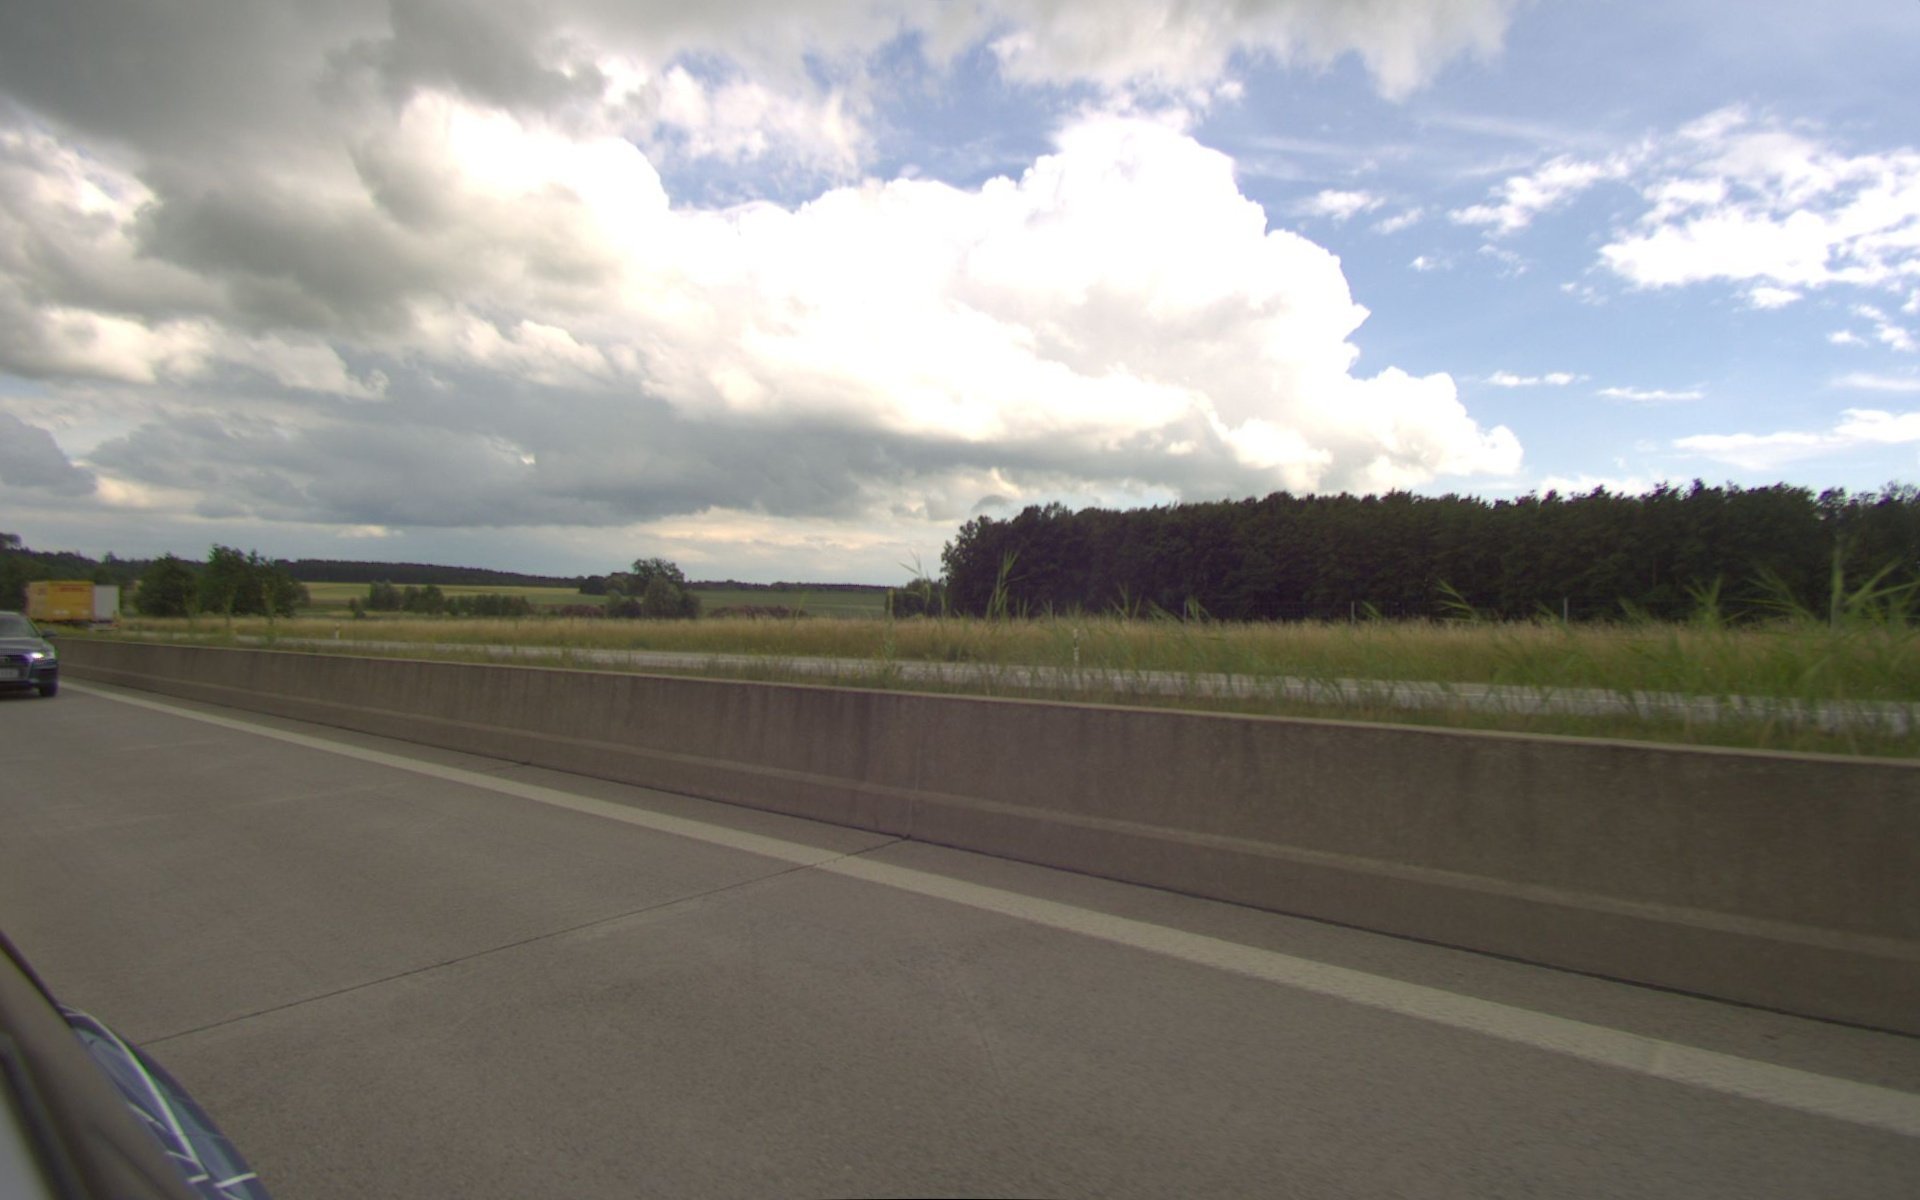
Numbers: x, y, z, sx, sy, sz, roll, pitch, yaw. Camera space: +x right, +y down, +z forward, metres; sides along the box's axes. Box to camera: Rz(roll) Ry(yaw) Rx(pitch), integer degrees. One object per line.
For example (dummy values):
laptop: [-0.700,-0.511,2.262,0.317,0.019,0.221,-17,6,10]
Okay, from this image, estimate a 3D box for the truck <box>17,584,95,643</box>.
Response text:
truck: [-66.754,1.018,74.655,10.559,4.069,2.788,-1,-2,40]

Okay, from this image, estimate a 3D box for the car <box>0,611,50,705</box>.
car: [-18.531,1.031,18.950,5.157,1.608,1.773,-1,-1,43]

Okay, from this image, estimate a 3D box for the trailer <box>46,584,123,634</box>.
trailer: [-74.844,0.844,86.365,13.896,4.069,2.811,-1,-2,40]
